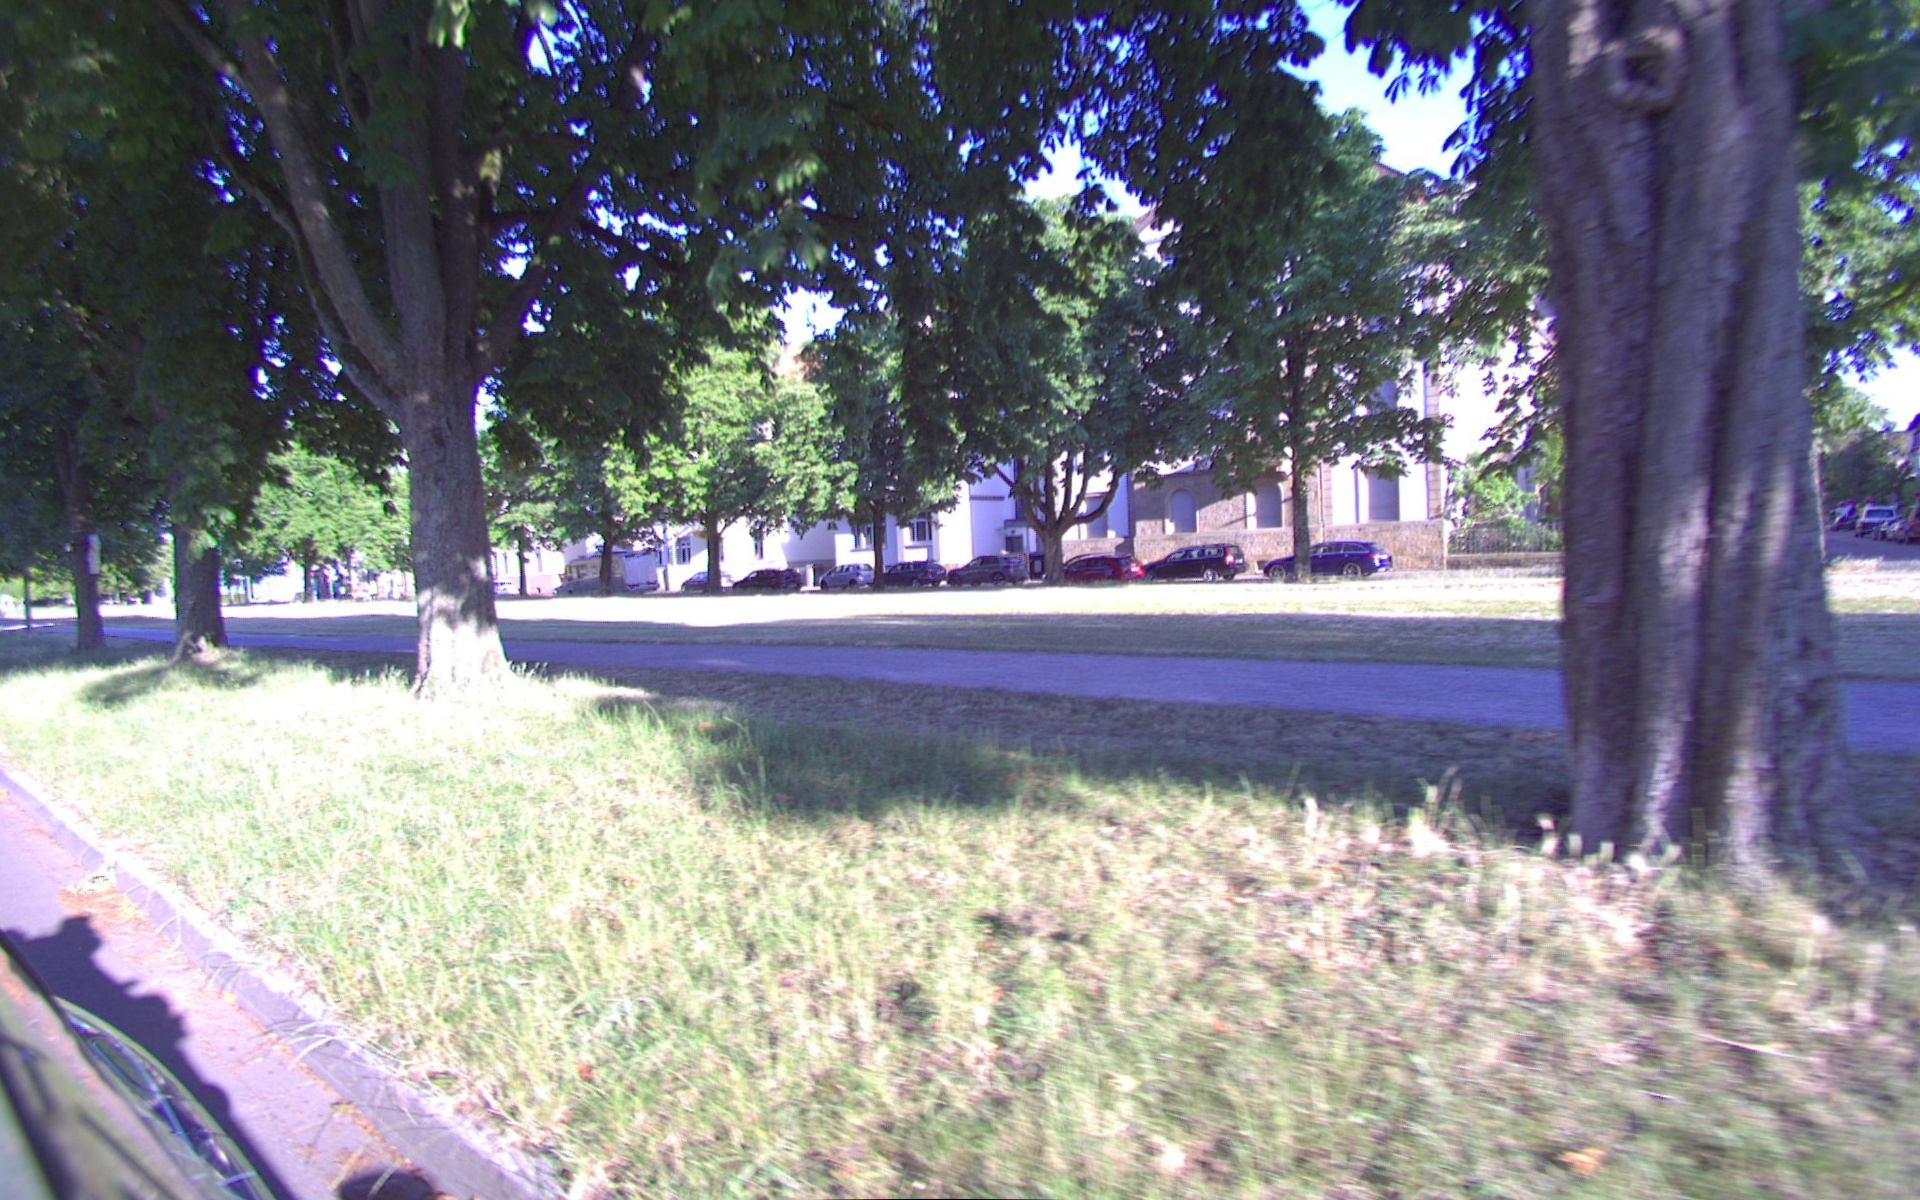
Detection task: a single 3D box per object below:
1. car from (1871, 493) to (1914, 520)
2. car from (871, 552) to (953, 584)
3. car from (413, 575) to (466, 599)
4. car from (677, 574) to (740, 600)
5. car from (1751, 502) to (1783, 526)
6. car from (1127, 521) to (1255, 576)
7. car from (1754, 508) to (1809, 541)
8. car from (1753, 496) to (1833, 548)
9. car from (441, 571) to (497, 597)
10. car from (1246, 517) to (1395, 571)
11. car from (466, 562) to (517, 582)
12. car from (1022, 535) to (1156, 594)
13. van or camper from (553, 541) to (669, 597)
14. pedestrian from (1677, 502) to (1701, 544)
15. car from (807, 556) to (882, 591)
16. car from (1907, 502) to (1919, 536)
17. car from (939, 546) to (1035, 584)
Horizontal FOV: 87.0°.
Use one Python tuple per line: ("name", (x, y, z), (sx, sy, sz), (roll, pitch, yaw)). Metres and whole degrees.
("car", (61.065, -6.125, 66.331), (1.834, 1.585, 3.858), (-1, 3, 40))
("car", (-2.568, -1.679, 53.768), (4.169, 1.440, 1.972), (-1, 3, 43))
("car", (-40.937, -1.010, 79.570), (4.874, 1.702, 1.973), (-1, 3, 42))
("car", (-16.333, -0.825, 65.734), (3.998, 1.475, 1.973), (-2, 2, 41))
("car", (72.799, -7.749, 91.283), (1.996, 2.028, 3.953), (-2, 3, 36))
("car", (9.656, -2.140, 42.537), (4.876, 2.028, 1.972), (-1, 3, 43))
("car", (42.410, -3.919, 52.217), (1.999, 1.497, 3.946), (-1, 3, 42))
("car", (29.346, -2.754, 35.587), (1.999, 1.619, 4.805), (-1, 3, 42))
("car", (-36.878, -1.172, 75.928), (4.874, 1.702, 1.973), (-1, 3, 42))
("car", (13.781, -2.126, 38.845), (5.000, 1.763, 1.975), (-2, 2, 37))
("car", (-39.945, -2.370, 86.268), (4.870, 1.464, 1.975), (-1, 3, 39))
("car", (4.935, -1.362, 39.284), (4.876, 2.028, 1.972), (-1, 3, 43))
("van or camper", (-21.802, -1.894, 62.988), (7.894, 3.133, 3.221), (-1, 3, 42))
("pedestrian", (33.127, -3.485, 45.984), (0.690, 1.820, 0.863), (-2, 2, 27))
("car", (-6.490, -1.483, 56.832), (4.000, 1.747, 1.972), (-1, 3, 43))
("car", (46.936, -3.931, 48.618), (1.834, 1.585, 3.858), (-1, 3, 40))
("car", (1.316, -1.706, 49.980), (4.425, 1.664, 1.974), (-1, 3, 40))
